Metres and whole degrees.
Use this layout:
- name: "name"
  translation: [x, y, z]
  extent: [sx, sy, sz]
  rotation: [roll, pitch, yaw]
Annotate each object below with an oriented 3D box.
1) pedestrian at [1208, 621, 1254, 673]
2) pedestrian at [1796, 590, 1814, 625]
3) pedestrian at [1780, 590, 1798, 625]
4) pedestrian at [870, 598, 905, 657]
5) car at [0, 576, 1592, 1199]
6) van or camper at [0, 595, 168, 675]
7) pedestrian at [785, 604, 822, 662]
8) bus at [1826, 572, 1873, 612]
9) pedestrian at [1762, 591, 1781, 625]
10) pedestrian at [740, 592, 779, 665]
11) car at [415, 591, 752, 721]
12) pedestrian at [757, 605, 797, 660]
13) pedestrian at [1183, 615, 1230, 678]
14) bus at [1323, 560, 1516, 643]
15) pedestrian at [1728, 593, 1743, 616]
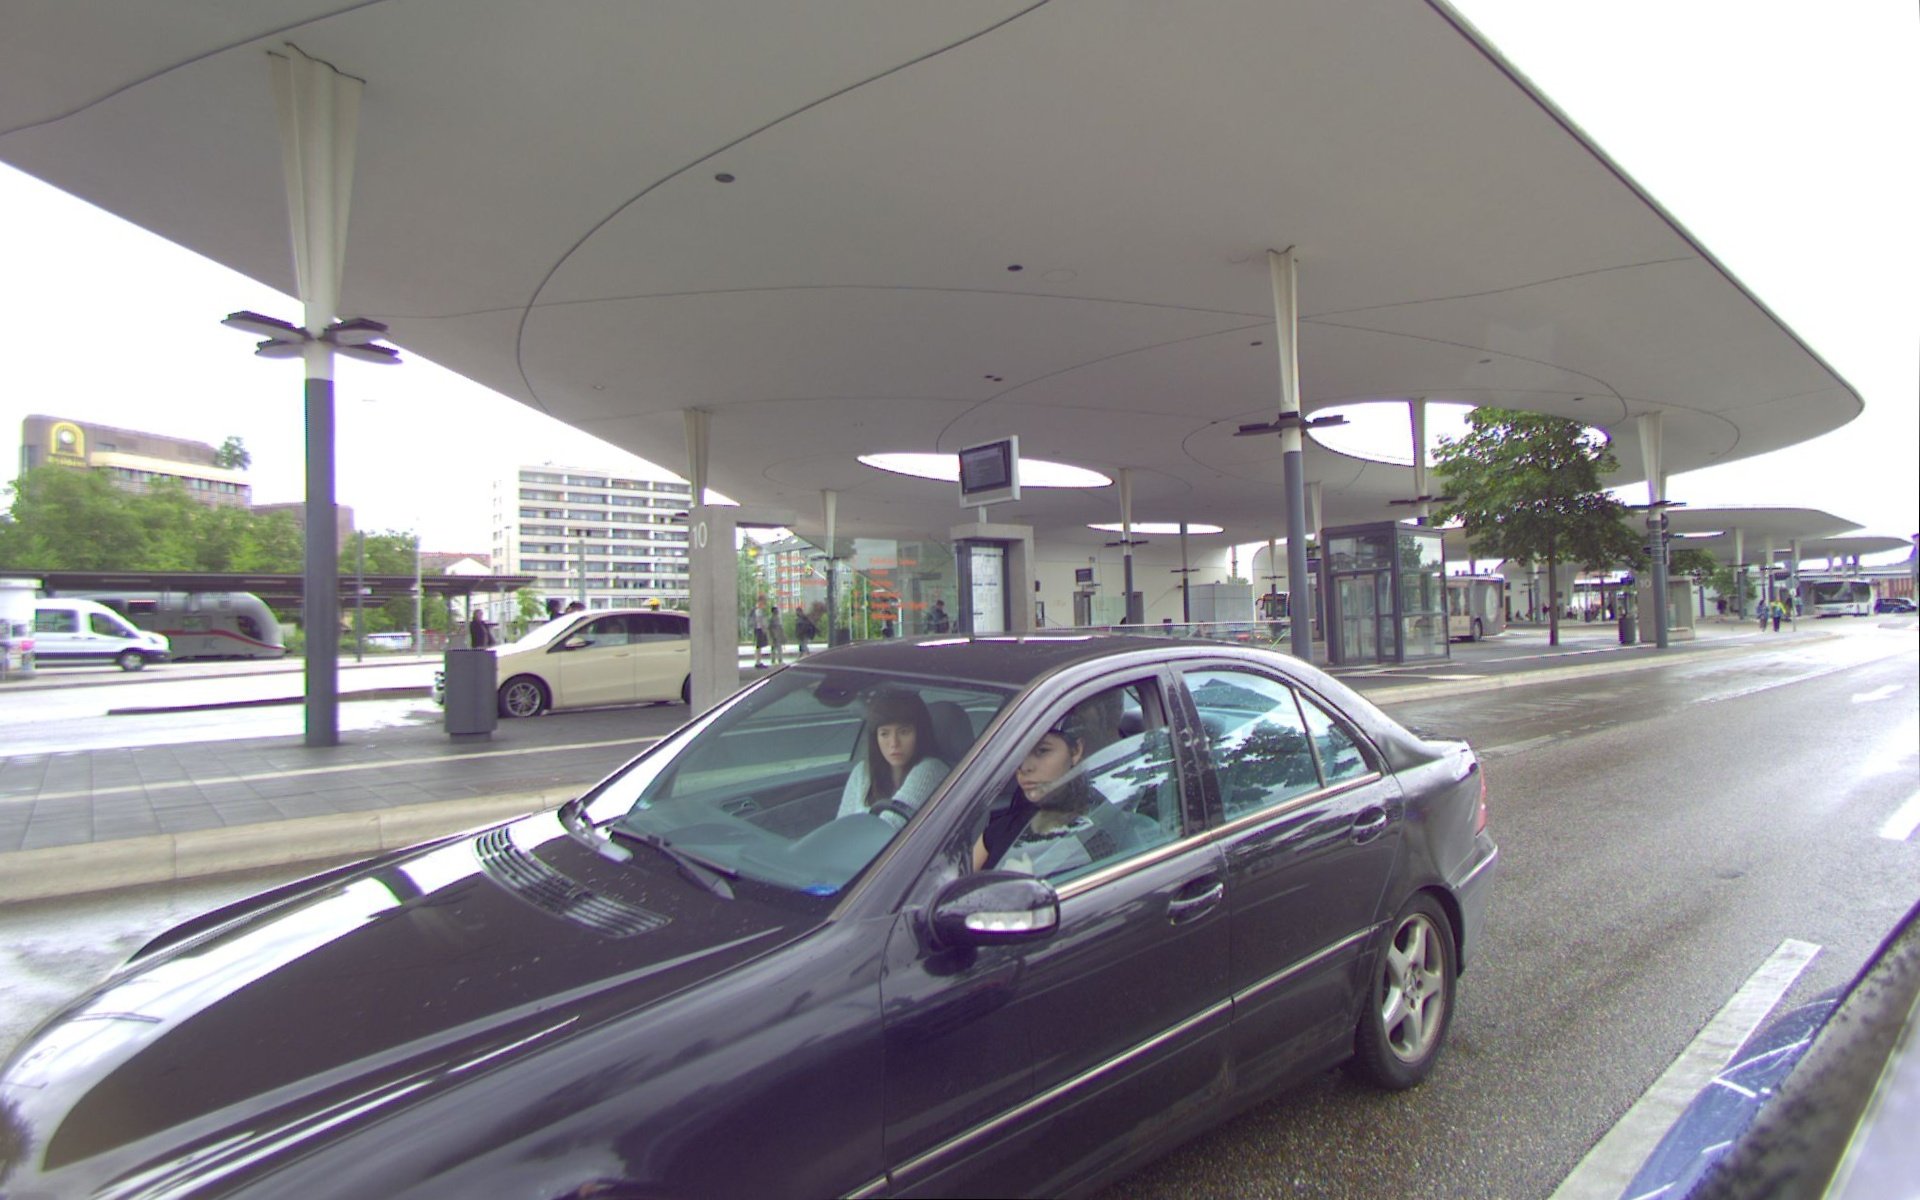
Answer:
- name: "pedestrian"
  translation: [5.293, 0.904, 19.763]
  extent: [0.626, 0.974, 0.622]
  rotation: [0, -1, -41]
- name: "pedestrian"
  translation: [39.549, 0.347, 47.368]
  extent: [0.543, 1.645, 0.556]
  rotation: [0, -1, -41]
- name: "pedestrian"
  translation: [39.239, 0.346, 47.915]
  extent: [0.543, 1.645, 0.556]
  rotation: [0, -1, -41]
- name: "pedestrian"
  translation: [-1.936, 0.721, 27.066]
  extent: [0.680, 1.564, 0.658]
  rotation: [0, -1, -40]
- name: "car"
  translation: [0.094, 0.806, 3.022]
  extent: [4.359, 1.499, 1.747]
  rotation: [-2, -4, -41]
- name: "van or camper"
  translation: [-29.777, 1.104, 33.226]
  extent: [5.868, 2.495, 2.106]
  rotation: [0, -1, -41]
- name: "pedestrian"
  translation: [-4.602, 0.956, 29.764]
  extent: [0.646, 1.654, 0.854]
  rotation: [-1, -1, 43]
- name: "bus"
  translation: [75.374, -0.673, 85.707]
  extent: [2.666, 3.169, 9.565]
  rotation: [-1, -1, 43]
- name: "pedestrian"
  translation: [38.843, 0.379, 48.428]
  extent: [0.577, 1.645, 0.576]
  rotation: [0, -1, -41]
- name: "pedestrian"
  translation: [-4.815, 0.672, 24.304]
  extent: [0.680, 1.728, 0.658]
  rotation: [0, -1, -40]
- name: "car"
  translation: [-5.512, 0.749, 15.133]
  extent: [4.356, 1.671, 1.803]
  rotation: [0, -3, -41]
- name: "pedestrian"
  translation: [-5.108, 0.900, 28.220]
  extent: [0.732, 1.497, 0.825]
  rotation: [-1, -1, 43]
- name: "pedestrian"
  translation: [5.066, 0.942, 20.796]
  extent: [0.657, 1.268, 0.692]
  rotation: [0, -1, -41]
- name: "bus"
  translation: [20.076, 0.035, 43.596]
  extent: [12.144, 3.146, 2.999]
  rotation: [0, -1, -42]
- name: "pedestrian"
  translation: [55.506, 0.341, 72.461]
  extent: [0.740, 1.651, 0.723]
  rotation: [0, -1, -41]
